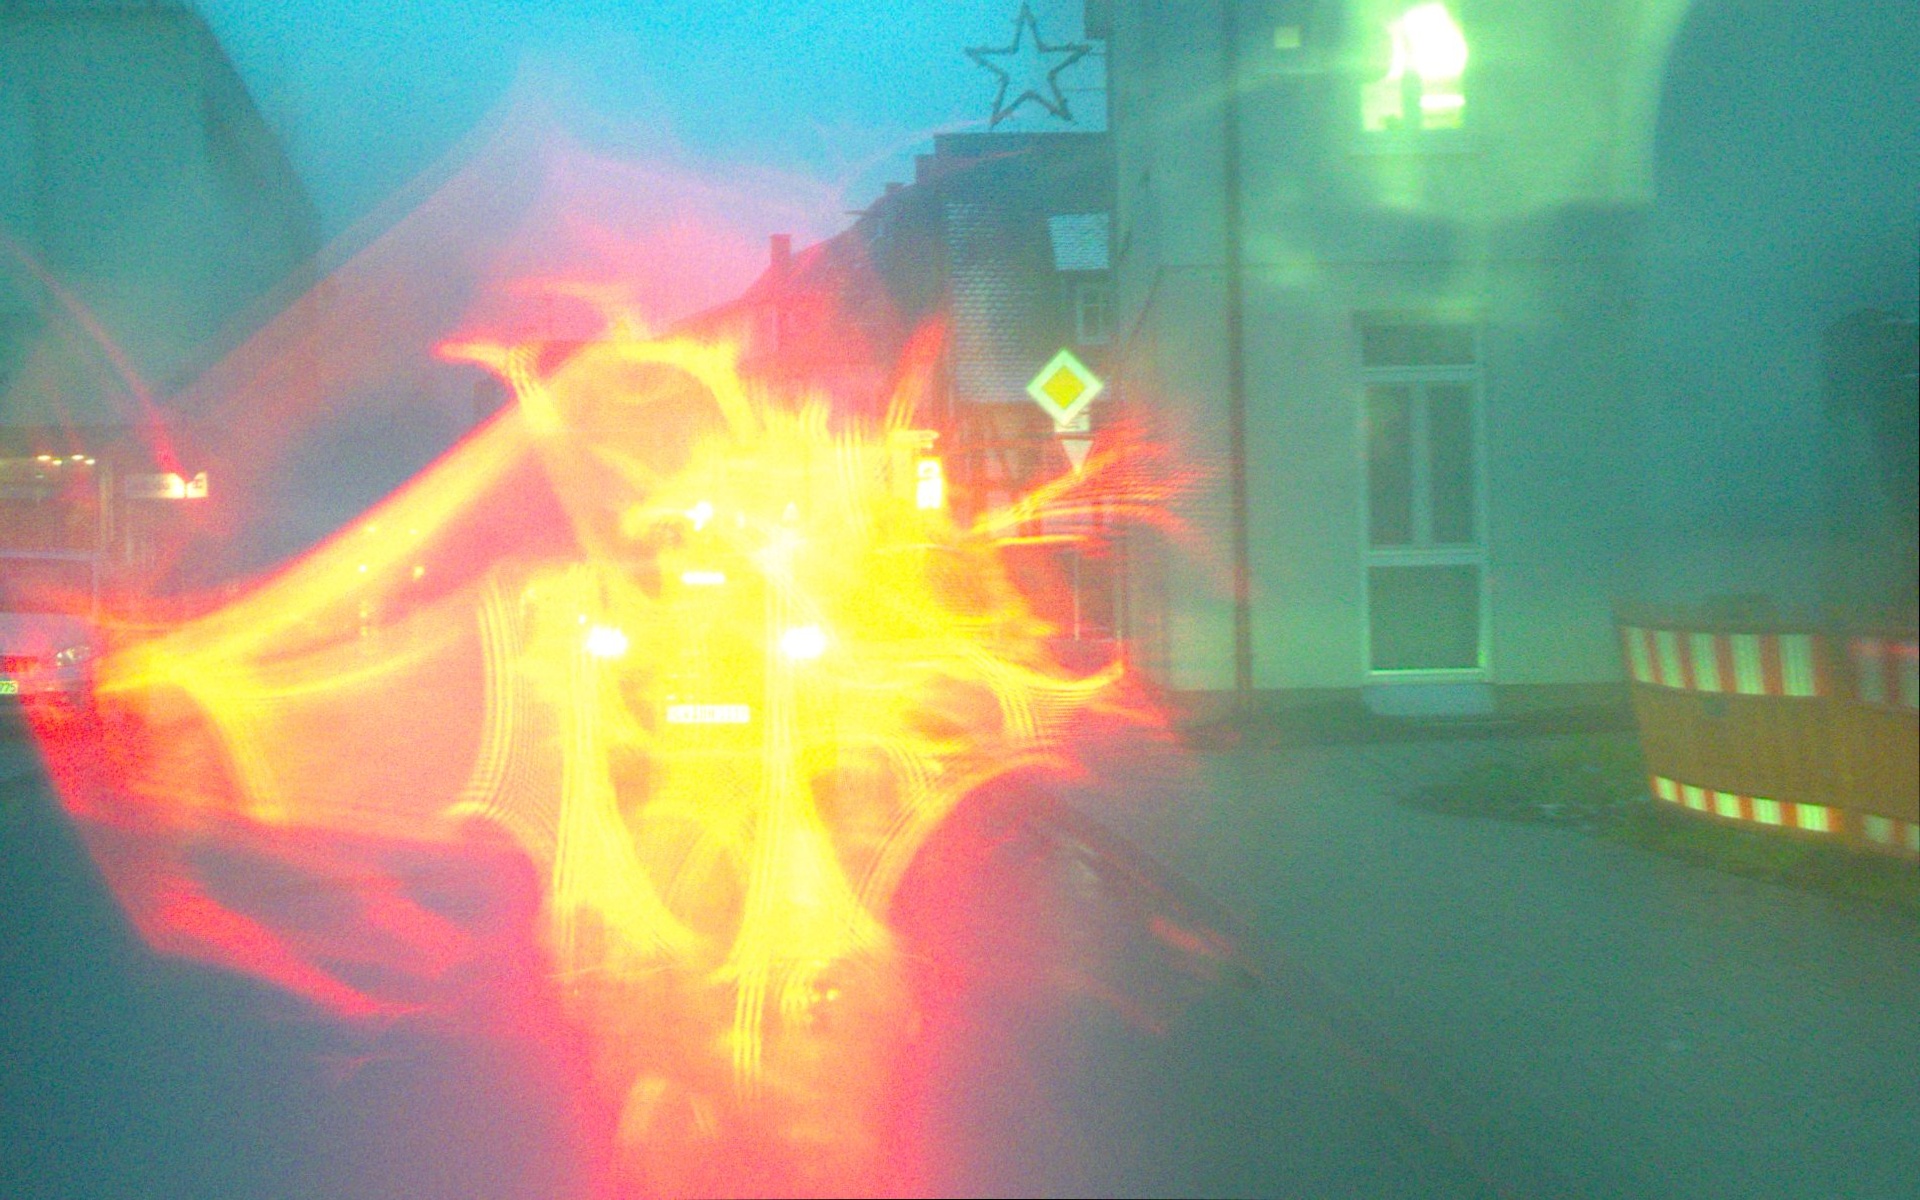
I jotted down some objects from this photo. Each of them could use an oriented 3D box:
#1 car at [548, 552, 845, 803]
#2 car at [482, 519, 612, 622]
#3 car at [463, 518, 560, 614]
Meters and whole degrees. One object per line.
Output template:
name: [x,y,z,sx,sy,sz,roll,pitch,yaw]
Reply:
car: [-1.798,0.448,23.075,1.814,1.528,4.001,0,1,-5]
car: [-6.590,-0.479,55.057,1.993,1.583,4.001,0,1,-6]
car: [-10.459,-0.807,80.388,1.993,2.195,4.001,0,1,-4]
